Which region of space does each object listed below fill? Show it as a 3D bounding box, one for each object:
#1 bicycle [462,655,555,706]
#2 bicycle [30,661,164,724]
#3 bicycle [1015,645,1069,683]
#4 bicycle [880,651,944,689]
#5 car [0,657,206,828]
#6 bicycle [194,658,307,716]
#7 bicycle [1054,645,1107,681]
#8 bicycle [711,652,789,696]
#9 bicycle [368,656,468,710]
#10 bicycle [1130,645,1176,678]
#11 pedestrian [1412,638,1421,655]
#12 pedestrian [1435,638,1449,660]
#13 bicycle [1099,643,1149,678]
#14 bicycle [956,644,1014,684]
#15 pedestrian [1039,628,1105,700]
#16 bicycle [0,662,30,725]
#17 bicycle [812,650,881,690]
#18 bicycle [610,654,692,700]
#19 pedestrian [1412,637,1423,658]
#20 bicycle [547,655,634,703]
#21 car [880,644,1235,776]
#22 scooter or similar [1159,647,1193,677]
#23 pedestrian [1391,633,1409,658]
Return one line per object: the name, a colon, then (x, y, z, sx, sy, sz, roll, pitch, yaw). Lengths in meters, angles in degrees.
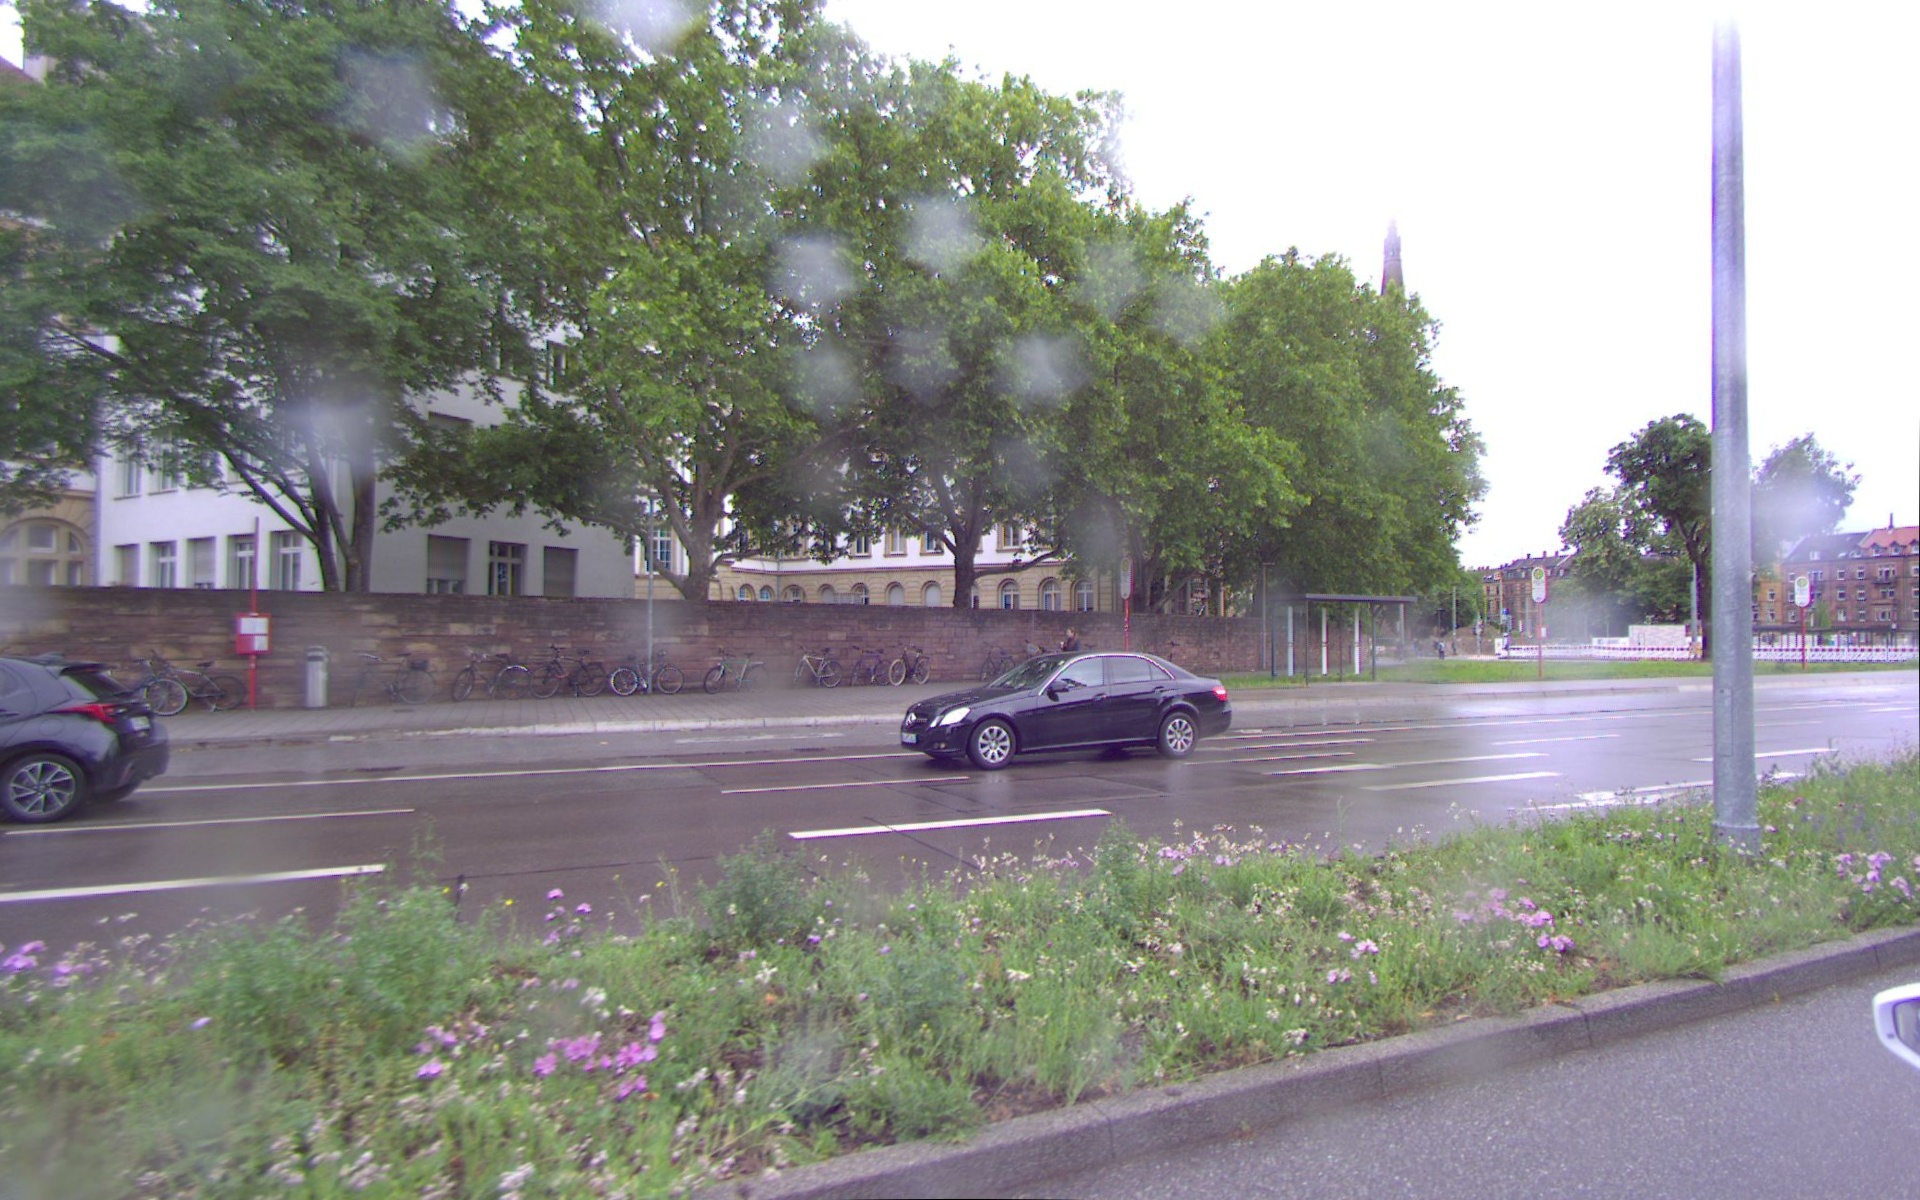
bicycle: (-9.577, 1.687, 21.345, 1.685, 0.996, 0.726, 1, -2, -36)
bicycle: (-14.858, 1.577, 17.361, 1.685, 0.996, 0.726, 1, -2, -36)
bicycle: (2.610, 2.023, 31.822, 0.567, 1.151, 1.979, -2, -2, 45)
bicycle: (-1.325, 1.930, 27.915, 1.685, 0.996, 0.726, 1, -2, -36)
car: (-9.352, 1.242, 8.867, 4.010, 1.434, 1.620, 1, -3, -25)
bicycle: (-13.222, 1.605, 18.763, 1.685, 0.996, 0.726, 1, -2, -36)
bicycle: (4.019, 2.073, 33.329, 1.976, 1.151, 0.568, 1, -2, -41)
bicycle: (-5.064, 1.765, 24.259, 1.685, 0.996, 0.726, 1, -2, -36)
bicycle: (-10.915, 1.652, 20.234, 1.685, 0.996, 0.726, 1, -2, -36)
bicycle: (7.015, 2.202, 36.420, 1.976, 1.151, 0.568, 1, -2, -41)
pedestrian: (40.918, 4.178, 90.055, 0.661, 1.520, 0.775, 0, -2, 16)
pedestrian: (39.665, 4.053, 82.661, 0.763, 1.801, 0.722, 1, -2, -22)
bicycle: (5.700, 2.087, 34.841, 1.976, 1.151, 0.568, 1, -2, -41)
bicycle: (0.767, 1.920, 30.272, 0.567, 1.151, 1.979, -2, -2, 45)
pedestrian: (2.742, 1.550, 24.593, 1.384, 1.718, 0.864, 1, -2, -31)
bicycle: (-16.275, 1.518, 16.126, 1.844, 0.996, 0.727, 1, -2, -32)
bicycle: (-3.006, 1.838, 26.714, 1.685, 0.996, 0.726, 1, -2, -36)
bicycle: (-7.115, 1.762, 23.161, 1.685, 0.996, 0.726, 1, -2, -36)
pedestrian: (42.218, 4.402, 92.692, 0.595, 1.915, 0.602, 1, -2, -27)
bicycle: (-8.240, 1.738, 22.433, 1.685, 0.996, 0.726, 1, -2, -36)
car: (1.378, 1.423, 13.930, 4.640, 1.560, 1.804, 1, -4, -25)
scooter or similar: (8.056, 2.294, 37.414, 1.352, 1.060, 0.567, 1, -2, -41)
pedestrian: (36.250, 3.761, 82.745, 0.984, 2.040, 1.302, -1, -2, 42)
